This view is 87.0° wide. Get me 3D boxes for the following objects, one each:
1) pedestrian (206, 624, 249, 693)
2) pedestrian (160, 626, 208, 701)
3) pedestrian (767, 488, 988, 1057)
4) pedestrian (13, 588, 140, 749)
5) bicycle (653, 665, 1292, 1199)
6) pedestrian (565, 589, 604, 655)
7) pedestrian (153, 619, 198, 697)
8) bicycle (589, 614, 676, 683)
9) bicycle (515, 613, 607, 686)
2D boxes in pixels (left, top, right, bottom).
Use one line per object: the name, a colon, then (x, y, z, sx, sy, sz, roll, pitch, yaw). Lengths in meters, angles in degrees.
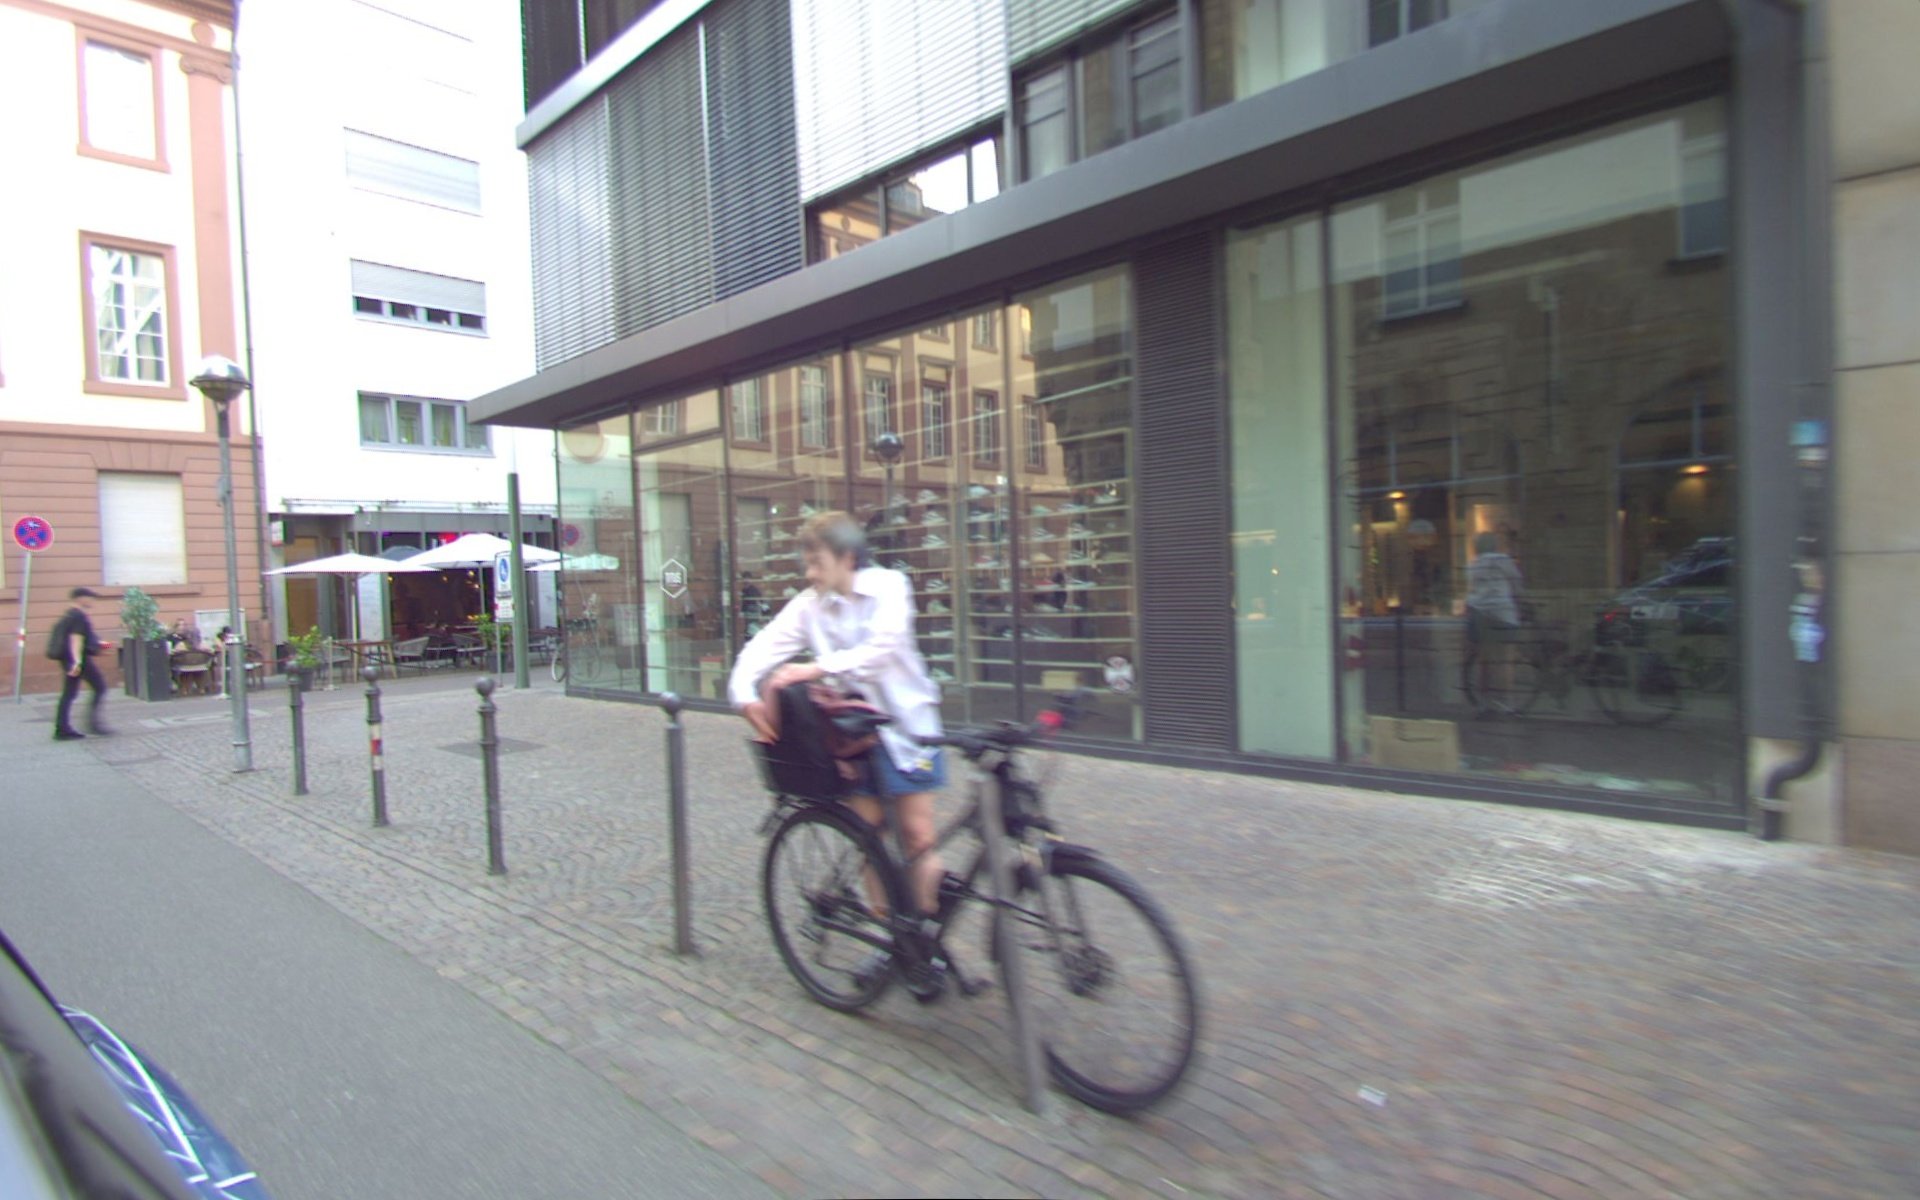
pedestrian: (-13.541, 1.077, 18.710, 0.541, 1.220, 0.524, -3, 1, -45)
pedestrian: (-13.239, 1.077, 17.262, 0.554, 1.221, 0.461, -3, 1, -45)
pedestrian: (-0.320, 0.522, 3.541, 0.582, 1.731, 0.772, -4, 2, -11)
pedestrian: (-10.561, 0.783, 12.110, 0.739, 1.798, 0.957, -2, 1, 37)
bicycle: (-0.107, 0.818, 2.876, 1.915, 1.162, 0.527, -2, 2, 44)
pedestrian: (-9.779, 0.572, 26.342, 0.619, 1.678, 0.667, -2, 1, 16)
pedestrian: (-14.238, 1.041, 18.368, 0.541, 1.359, 0.489, -3, 1, -45)
bicycle: (-5.903, 0.880, 18.184, 1.841, 1.159, 0.601, -4, -1, 42)
bicycle: (-6.637, 0.824, 16.796, 1.673, 1.121, 0.700, -4, -1, 42)
